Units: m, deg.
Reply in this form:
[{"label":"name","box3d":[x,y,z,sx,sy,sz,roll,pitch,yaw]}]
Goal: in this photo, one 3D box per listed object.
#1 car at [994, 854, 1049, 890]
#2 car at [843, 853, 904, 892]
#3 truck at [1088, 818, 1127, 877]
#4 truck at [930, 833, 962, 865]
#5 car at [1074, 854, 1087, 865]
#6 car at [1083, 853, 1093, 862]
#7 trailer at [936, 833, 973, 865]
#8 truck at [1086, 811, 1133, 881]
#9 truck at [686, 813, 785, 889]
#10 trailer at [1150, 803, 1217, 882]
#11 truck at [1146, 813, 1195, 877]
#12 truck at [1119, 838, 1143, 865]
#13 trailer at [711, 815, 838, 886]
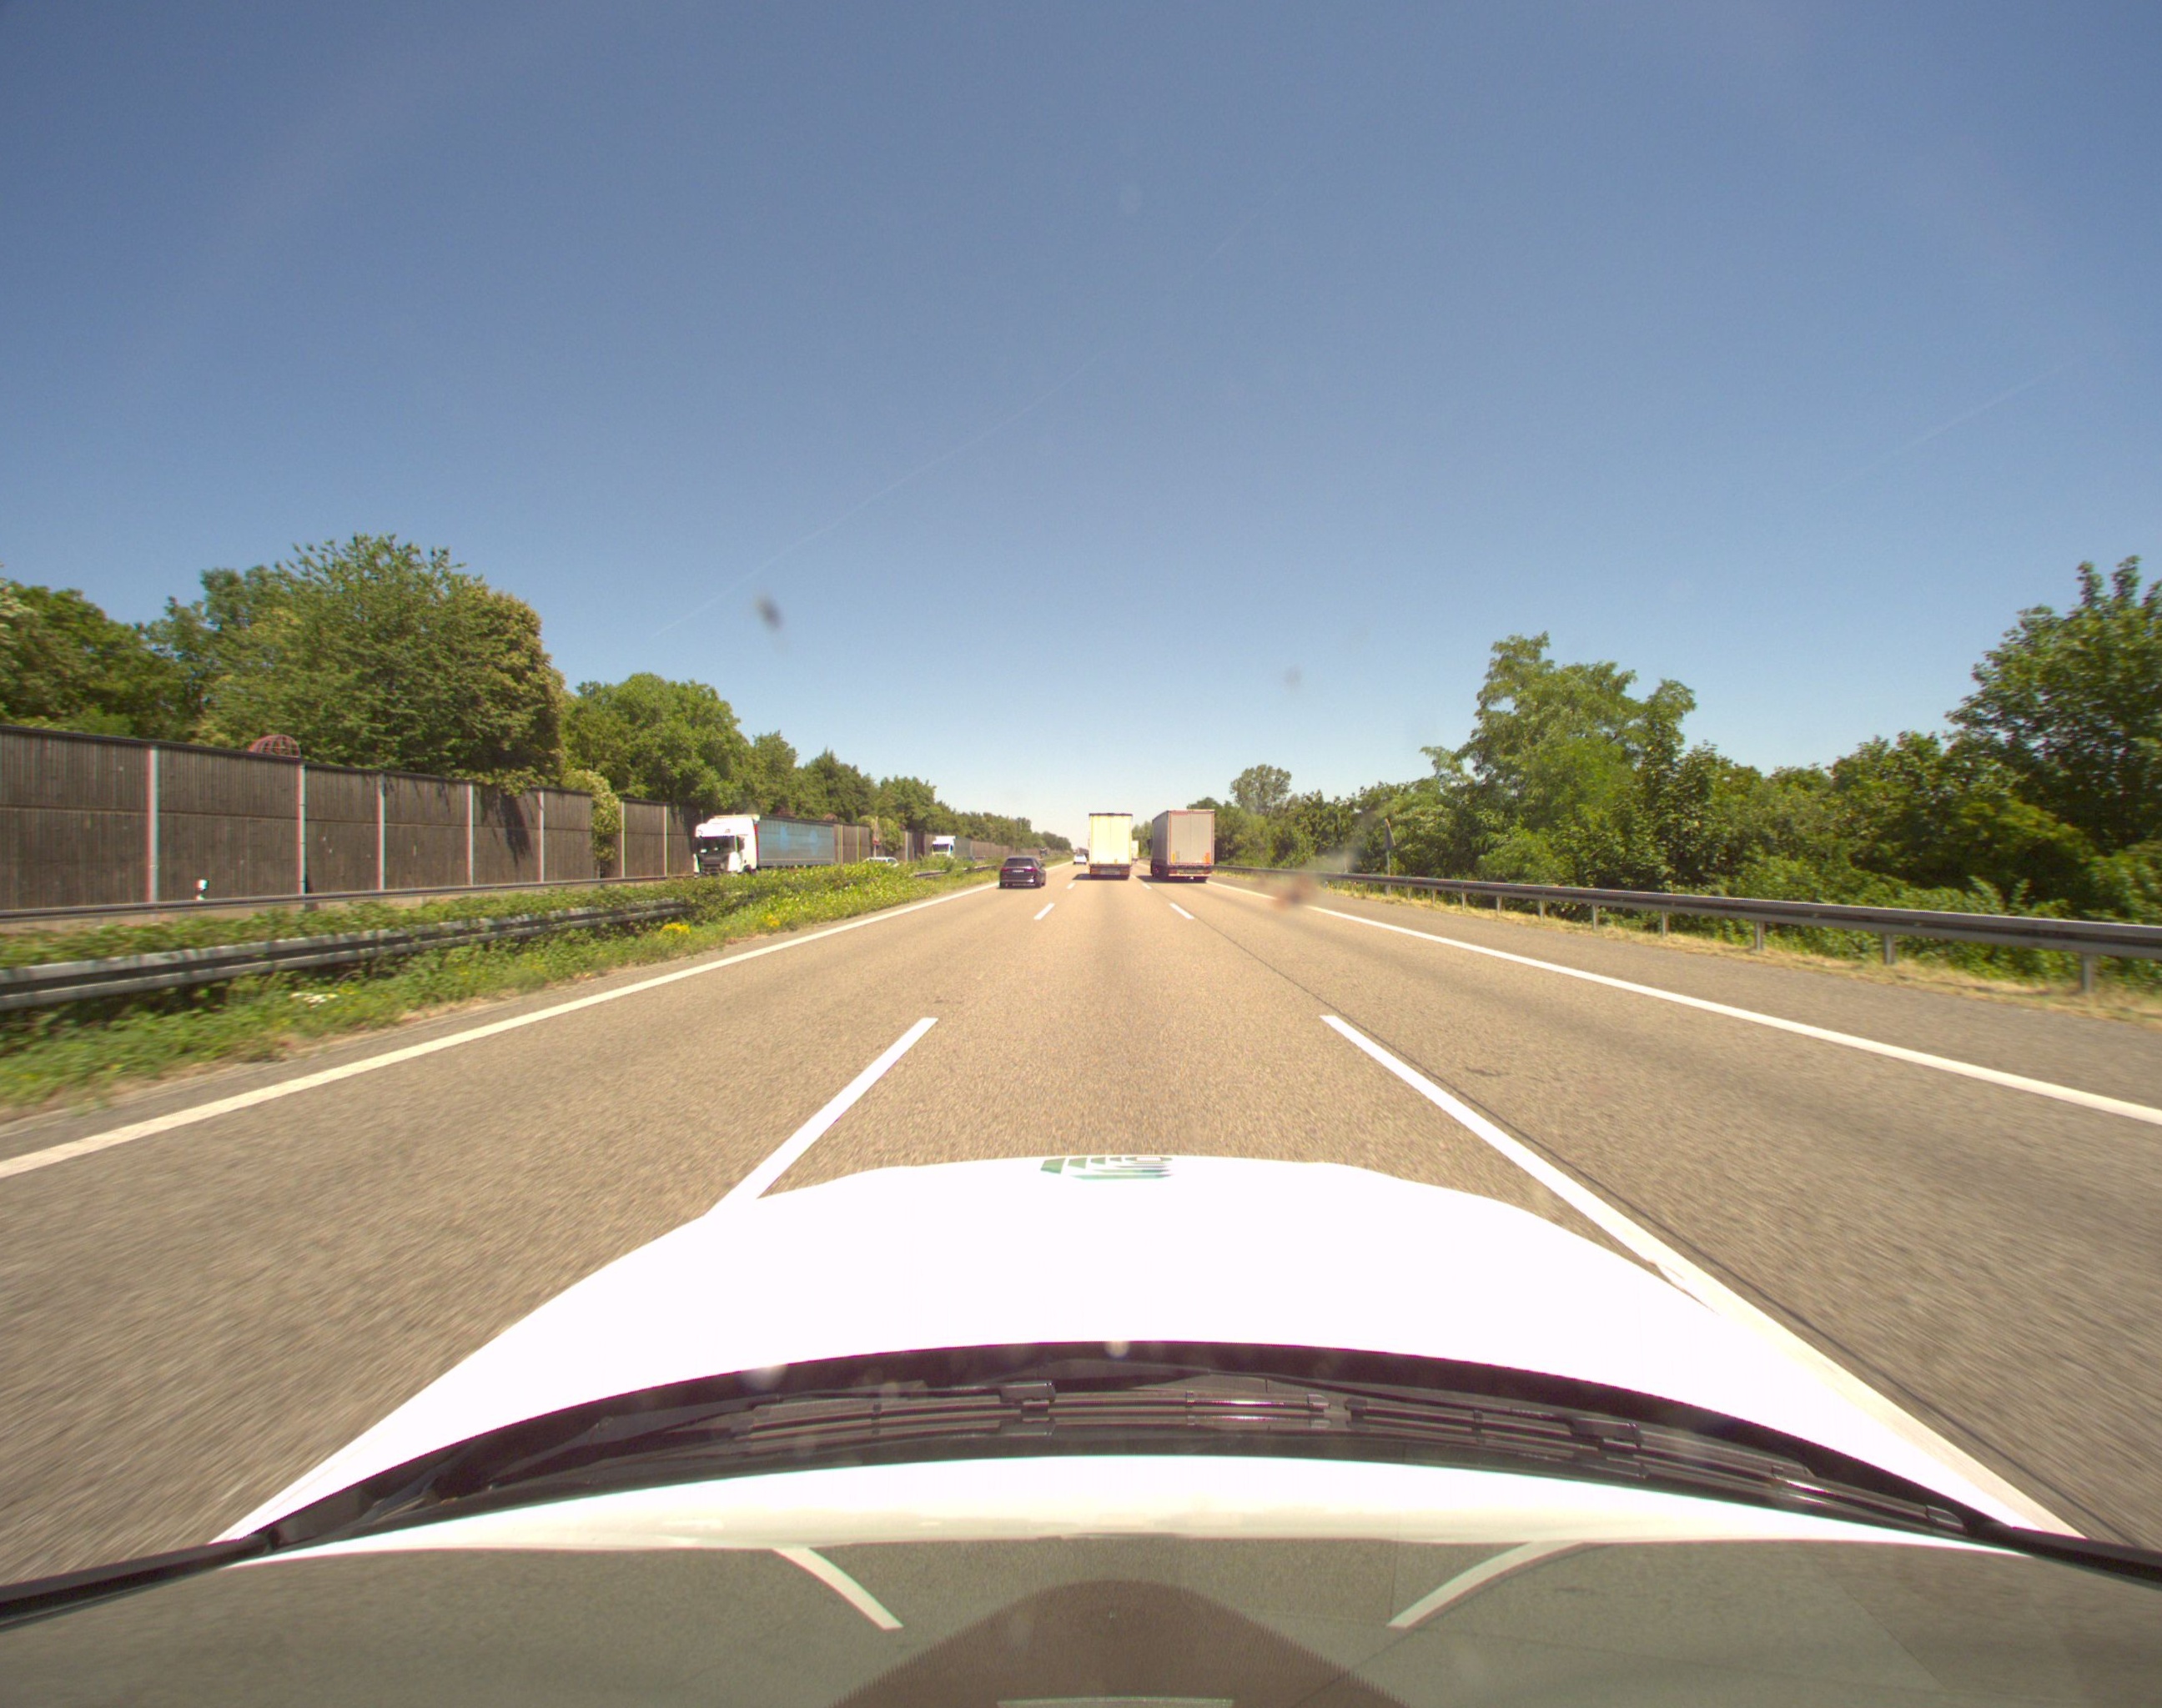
[{"label":"car","box3d":[-2.740,0.810,38.848,1.936,1.506,5.825,-1,0,2]},{"label":"car","box3d":[-11.510,0.975,45.526,1.986,2.013,4.897,1,0,2]},{"label":"truck","box3d":[1.924,-0.432,60.361,2.718,4.085,7.278,-1,0,1]},{"label":"truck","box3d":[-17.981,-0.637,108.857,2.823,4.183,7.143,-1,0,1]},{"label":"car","box3d":[-0.078,0.711,115.972,1.849,1.486,4.000,-2,0,0]},{"label":"car","box3d":[1.361,0.739,153.717,1.849,1.617,3.999,-2,0,0]},{"label":"trailer","box3d":[-17.819,-0.611,115.591,2.899,4.183,13.314,-1,0,1]},{"label":"truck","box3d":[1.800,-0.457,54.691,2.697,4.085,13.475,-1,0,1]},{"label":"truck","box3d":[-19.705,-0.169,46.943,2.748,4.022,6.735,-1,0,1]},{"label":"trailer","box3d":[6.071,-0.596,50.362,2.694,4.216,13.214,-1,0,1]},{"label":"truck","box3d":[6.207,-0.588,57.422,2.682,4.215,7.839,-1,0,1]},{"label":"truck","box3d":[8.639,-0.426,142.438,3.363,4.303,11.448,2,0,0]},{"label":"trailer","box3d":[-19.568,-0.157,53.488,2.725,4.022,14.307,-1,0,1]}]
